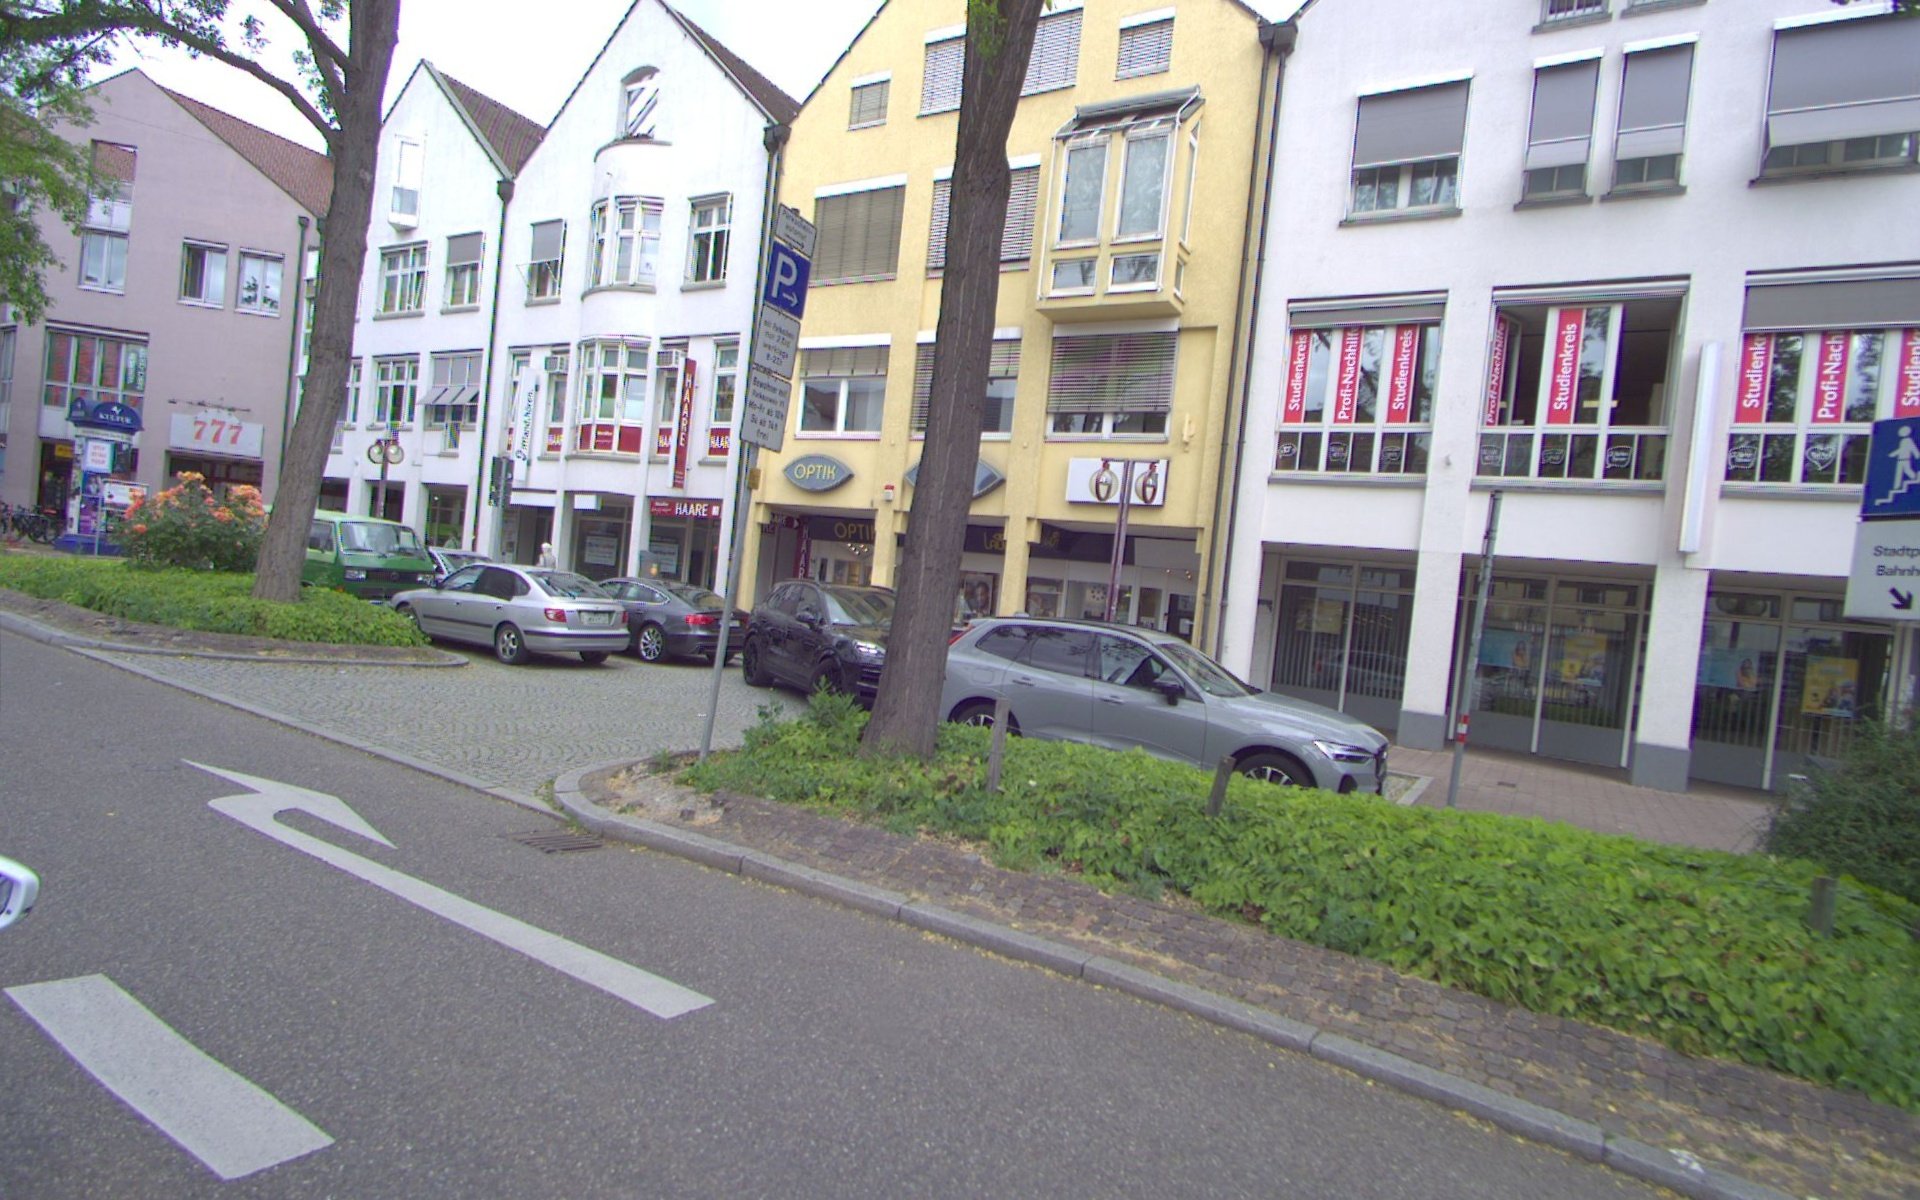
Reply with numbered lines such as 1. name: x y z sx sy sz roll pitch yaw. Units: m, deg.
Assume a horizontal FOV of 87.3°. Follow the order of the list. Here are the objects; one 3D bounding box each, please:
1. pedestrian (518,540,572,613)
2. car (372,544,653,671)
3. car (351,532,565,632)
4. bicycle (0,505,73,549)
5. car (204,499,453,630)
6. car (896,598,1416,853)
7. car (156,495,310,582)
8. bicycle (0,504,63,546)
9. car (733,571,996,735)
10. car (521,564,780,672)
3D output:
1. pedestrian: -10.165 -0.572 24.643 0.805 1.682 0.789 7 3 32
2. car: -7.126 0.099 15.914 4.344 1.468 1.765 7 0 30
3. car: -10.427 -0.387 20.815 4.320 1.562 1.797 7 1 30
4. bicycle: -26.319 -2.076 28.323 0.460 1.009 1.901 7 0 36
5. car: -11.603 -0.667 18.426 4.528 1.900 1.882 7 2 30
6. car: 1.927 1.086 10.240 4.682 1.615 1.997 7 0 29
7. car: -19.280 -1.637 26.659 3.898 1.855 1.639 7 1 28
8. bicycle: -26.764 -2.153 28.616 0.440 1.009 1.769 7 0 36
9. car: -1.555 0.622 14.152 1.838 1.692 4.626 5 1 -30
10. car: -5.646 0.307 18.244 4.344 1.394 1.999 7 1 30
